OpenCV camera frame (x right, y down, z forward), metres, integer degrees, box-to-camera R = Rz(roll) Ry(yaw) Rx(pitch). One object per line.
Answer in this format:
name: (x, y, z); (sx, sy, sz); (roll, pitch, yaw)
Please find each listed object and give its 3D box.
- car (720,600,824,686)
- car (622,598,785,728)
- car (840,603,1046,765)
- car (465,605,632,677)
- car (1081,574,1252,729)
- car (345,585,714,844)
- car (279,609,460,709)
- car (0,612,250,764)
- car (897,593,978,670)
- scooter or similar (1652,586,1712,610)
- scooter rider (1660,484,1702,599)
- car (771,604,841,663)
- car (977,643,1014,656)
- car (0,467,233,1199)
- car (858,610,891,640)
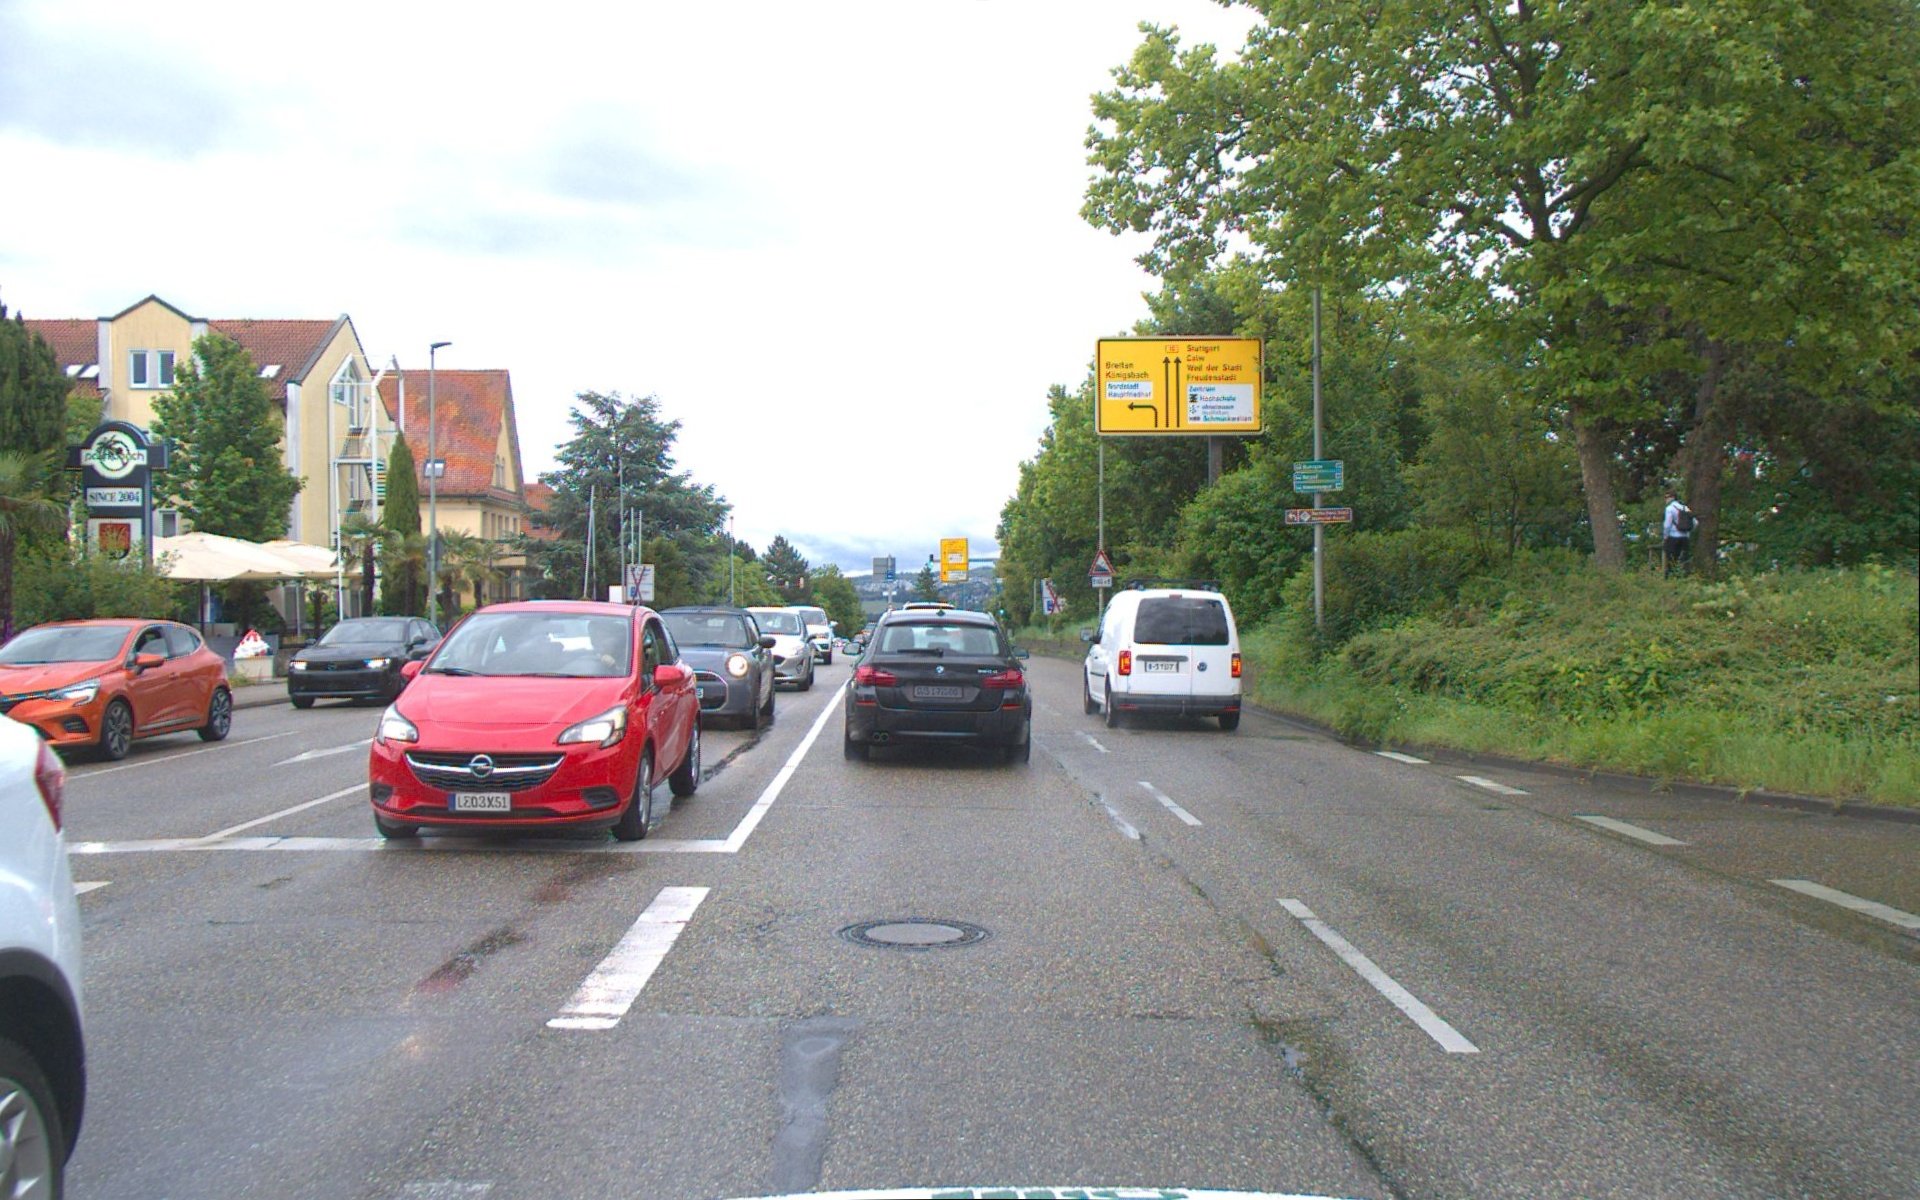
car: (-3.424, 0.771, 30.618); (1.569, 1.466, 3.947); (1, -1, -2)
car: (-3.181, 0.727, 21.139); (1.569, 1.466, 3.947); (1, 0, -2)
car: (-0.177, 0.788, 17.066); (1.860, 1.467, 3.999); (1, -1, -1)
car: (-9.037, 0.882, 36.166); (3.972, 1.503, 1.632); (-1, -1, 42)
car: (2.710, 0.619, 22.504); (1.729, 1.910, 3.804); (1, 1, -2)
car: (-2.771, 0.682, 11.546); (1.599, 1.459, 4.142); (-1, -1, -2)
car: (-9.743, 0.920, 27.634); (1.570, 1.424, 4.403); (-2, 1, -3)
car: (-9.246, 0.870, 17.786); (1.590, 1.355, 3.945); (-2, 1, -2)
car: (-0.542, 0.707, 39.757); (1.830, 1.703, 4.000); (1, 1, -1)
scooter or similar: (12.735, -0.041, 29.200); (0.477, 0.410, 1.255); (-1, 1, -1)
scooter rider: (12.728, -1.033, 29.191); (0.490, 1.999, 0.547); (-1, 1, -2)
car: (-4.341, 0.947, 47.172); (1.751, 1.609, 4.237); (0, -1, -2)
car: (3.850, 5.279, 176.732); (3.904, 1.401, 1.585); (0, -2, 3)
car: (-2.522, 0.627, 1.648); (1.802, 1.678, 4.296); (0, 1, -2)
car: (-5.279, 1.551, 102.579); (1.830, 1.703, 4.000); (1, 1, -1)
